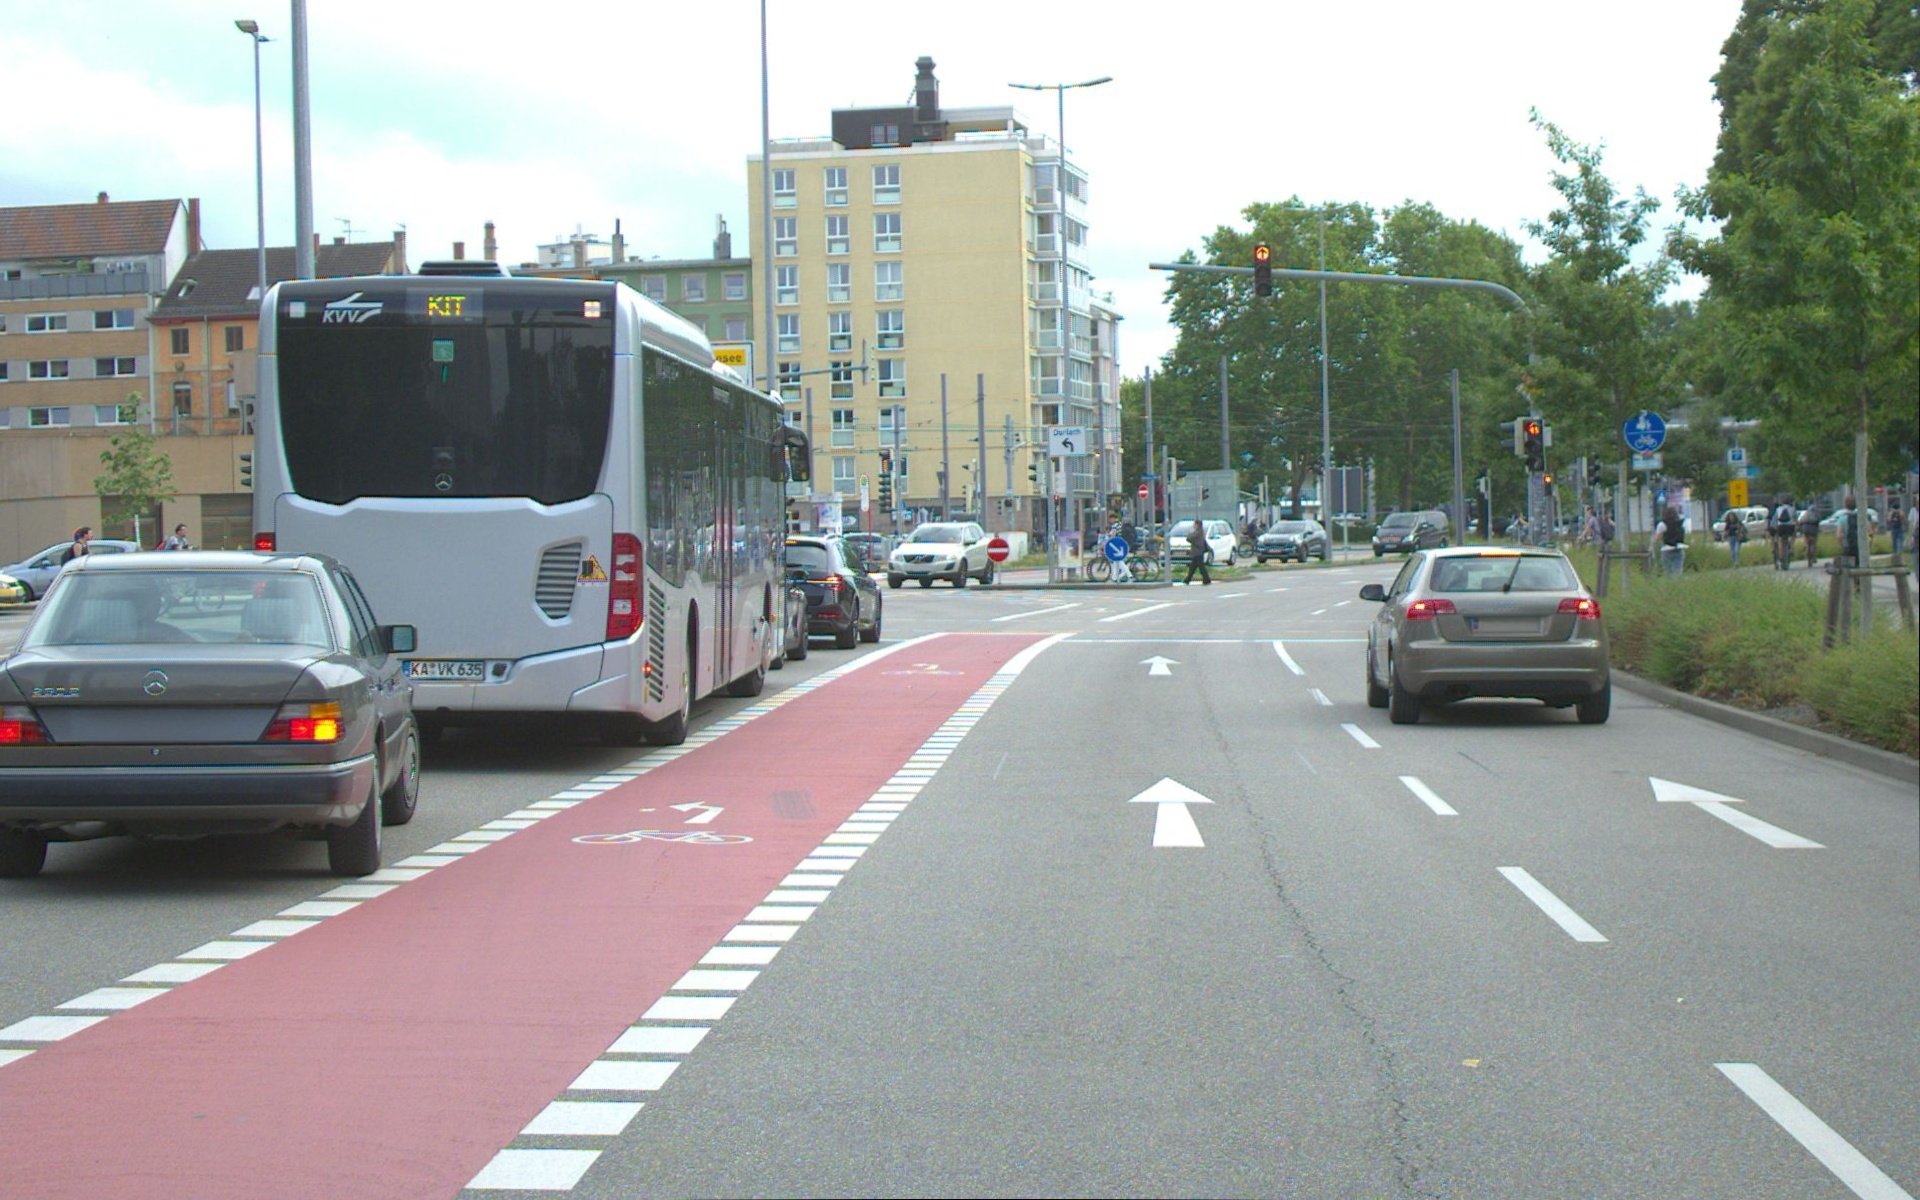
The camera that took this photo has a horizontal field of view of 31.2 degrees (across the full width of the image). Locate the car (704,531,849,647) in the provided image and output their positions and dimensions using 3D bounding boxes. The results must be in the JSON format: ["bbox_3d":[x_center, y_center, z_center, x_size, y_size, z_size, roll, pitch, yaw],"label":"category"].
[{"bbox_3d":[-2.347,-0.177,44.780,1.655,1.391,3.860,-1,1,0],"label":"car"}]

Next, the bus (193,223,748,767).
[{"bbox_3d":[-3.341,-0.772,25.785,2.831,3.378,8.183,-1,2,1],"label":"bus"}]

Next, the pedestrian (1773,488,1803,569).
[{"bbox_3d":[20.615,-1.783,85.587,0.614,2.007,0.597,-1,1,1],"label":"pedestrian"}]

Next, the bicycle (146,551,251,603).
[{"bbox_3d":[-15.407,-0.466,69.569,1.964,0.978,0.631,-1,1,0],"label":"bicycle"}]

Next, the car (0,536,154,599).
[{"bbox_3d":[-20.028,-0.732,77.204,3.671,1.389,1.585,0,1,-17],"label":"car"}]

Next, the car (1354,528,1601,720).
[{"bbox_3d":[4.269,0.153,28.835,1.724,1.452,3.736,-1,1,4],"label":"car"}]

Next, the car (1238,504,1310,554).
[{"bbox_3d":[12.190,-2.765,133.301,1.808,1.844,3.997,-1,1,19],"label":"car"}]

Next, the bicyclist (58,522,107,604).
[{"bbox_3d":[-17.832,-0.752,69.887,0.786,1.637,0.572,-1,1,2],"label":"bicyclist"}]

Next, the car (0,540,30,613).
[{"bbox_3d":[-21.713,-0.505,72.359,3.856,1.512,1.661,0,1,-2],"label":"car"}]

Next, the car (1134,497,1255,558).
[{"bbox_3d":[8.479,-2.621,123.619,2.586,2.102,5.594,-1,1,23],"label":"car"}]

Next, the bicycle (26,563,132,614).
[{"bbox_3d":[-17.904,-0.228,69.899,1.964,0.978,0.631,-1,1,2],"label":"bicycle"}]

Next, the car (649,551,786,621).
[{"bbox_3d":[-6.291,-0.378,89.667,1.996,1.697,3.996,-1,2,22],"label":"car"}]

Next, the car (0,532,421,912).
[{"bbox_3d":[-3.463,0.450,15.965,1.761,1.484,4.172,-1,1,-7],"label":"car"}]

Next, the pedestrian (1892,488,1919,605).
[{"bbox_3d":[14.186,-0.792,50.712,0.802,1.707,0.764,-1,1,16],"label":"pedestrian"}]

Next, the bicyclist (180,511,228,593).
[{"bbox_3d":[-15.304,-0.982,69.562,0.786,1.637,0.614,-1,1,0],"label":"bicyclist"}]

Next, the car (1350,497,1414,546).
[{"bbox_3d":[17.932,-3.355,145.994,1.995,2.006,3.997,-1,2,17],"label":"car"}]
